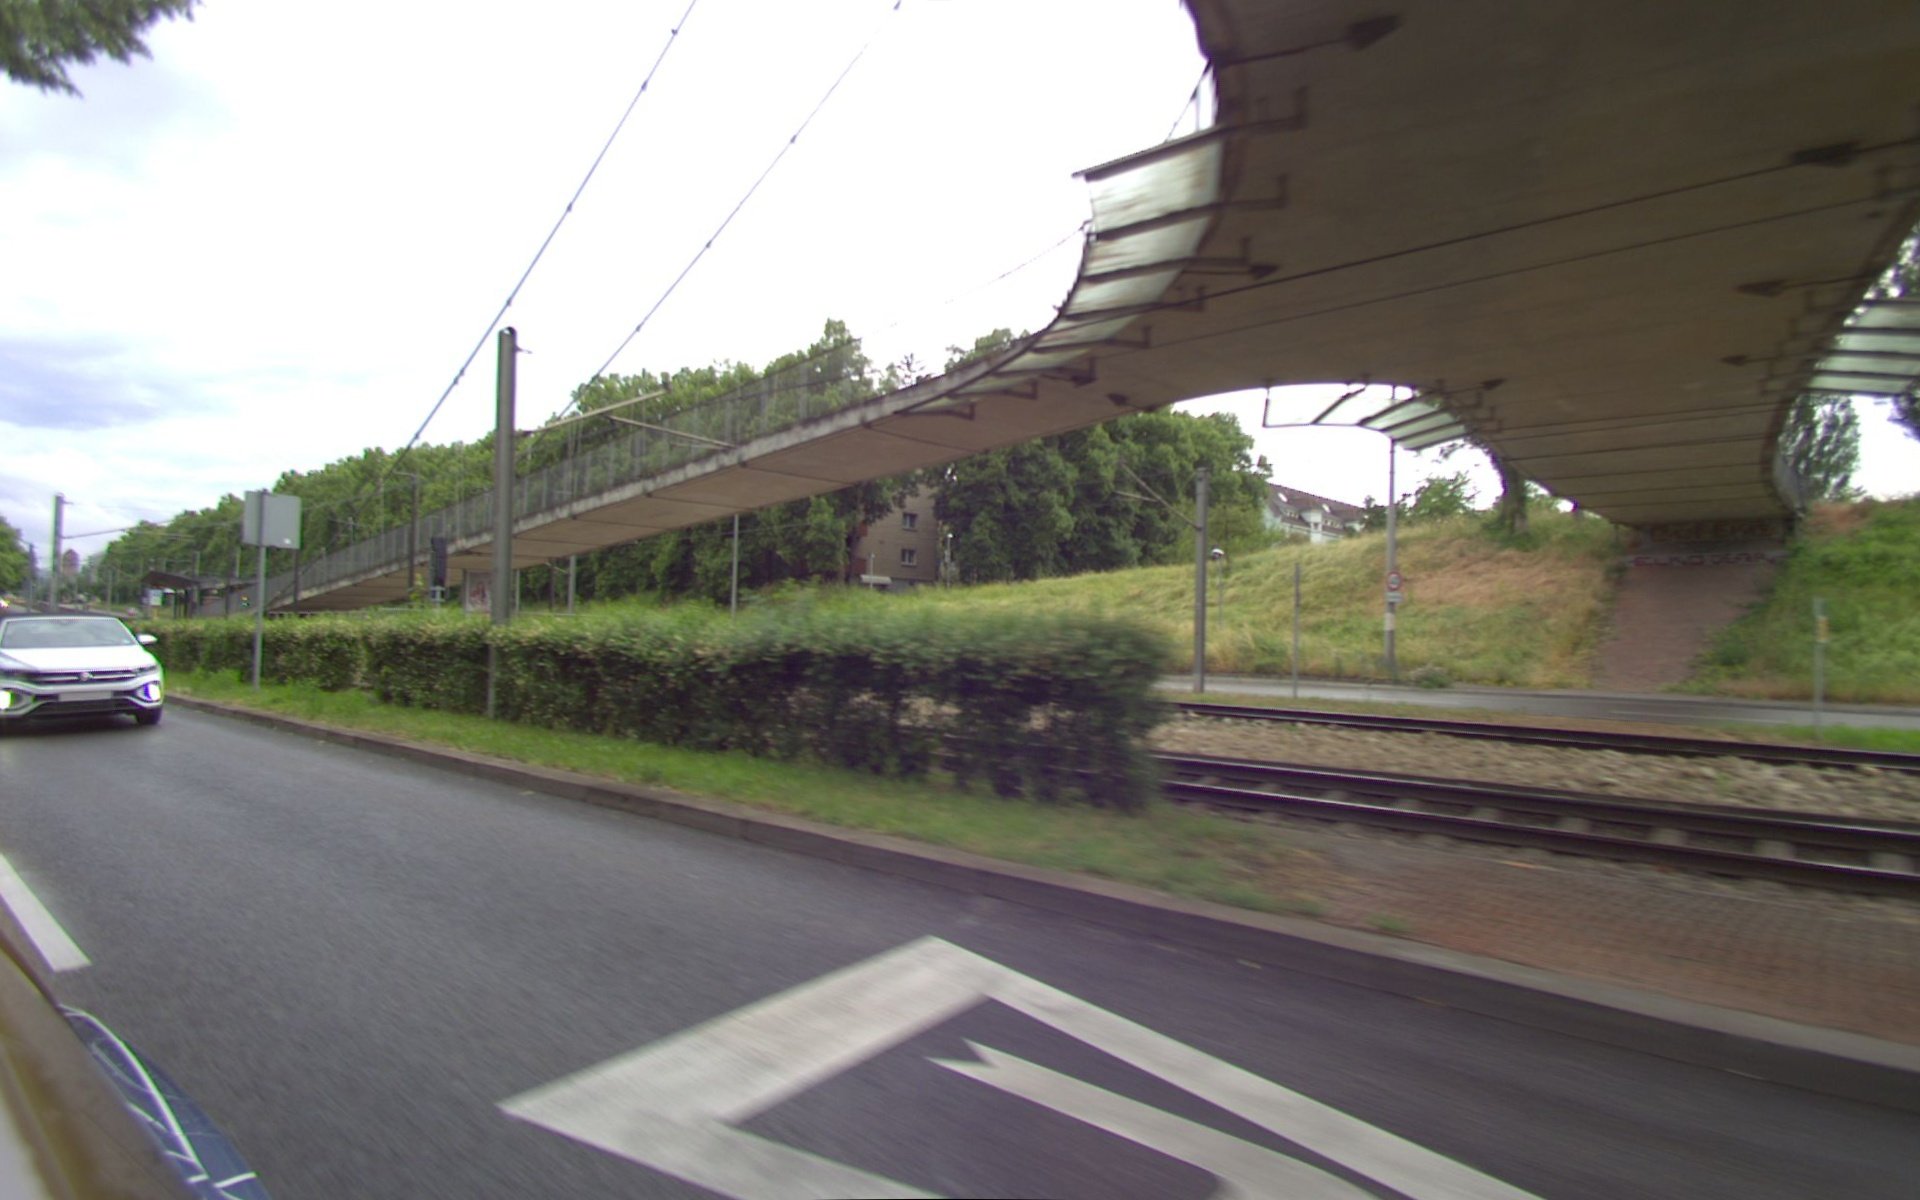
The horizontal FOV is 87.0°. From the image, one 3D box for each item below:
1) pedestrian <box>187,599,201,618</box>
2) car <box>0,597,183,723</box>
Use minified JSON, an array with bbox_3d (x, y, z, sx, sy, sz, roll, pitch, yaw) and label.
[{"bbox_3d":[-54.520,0.588,72.033,0.744,1.366,0.693,2,-1,-44],"label":"pedestrian"},{"bbox_3d":[-12.681,0.718,14.072,4.694,1.476,1.936,0,0,39],"label":"car"}]
